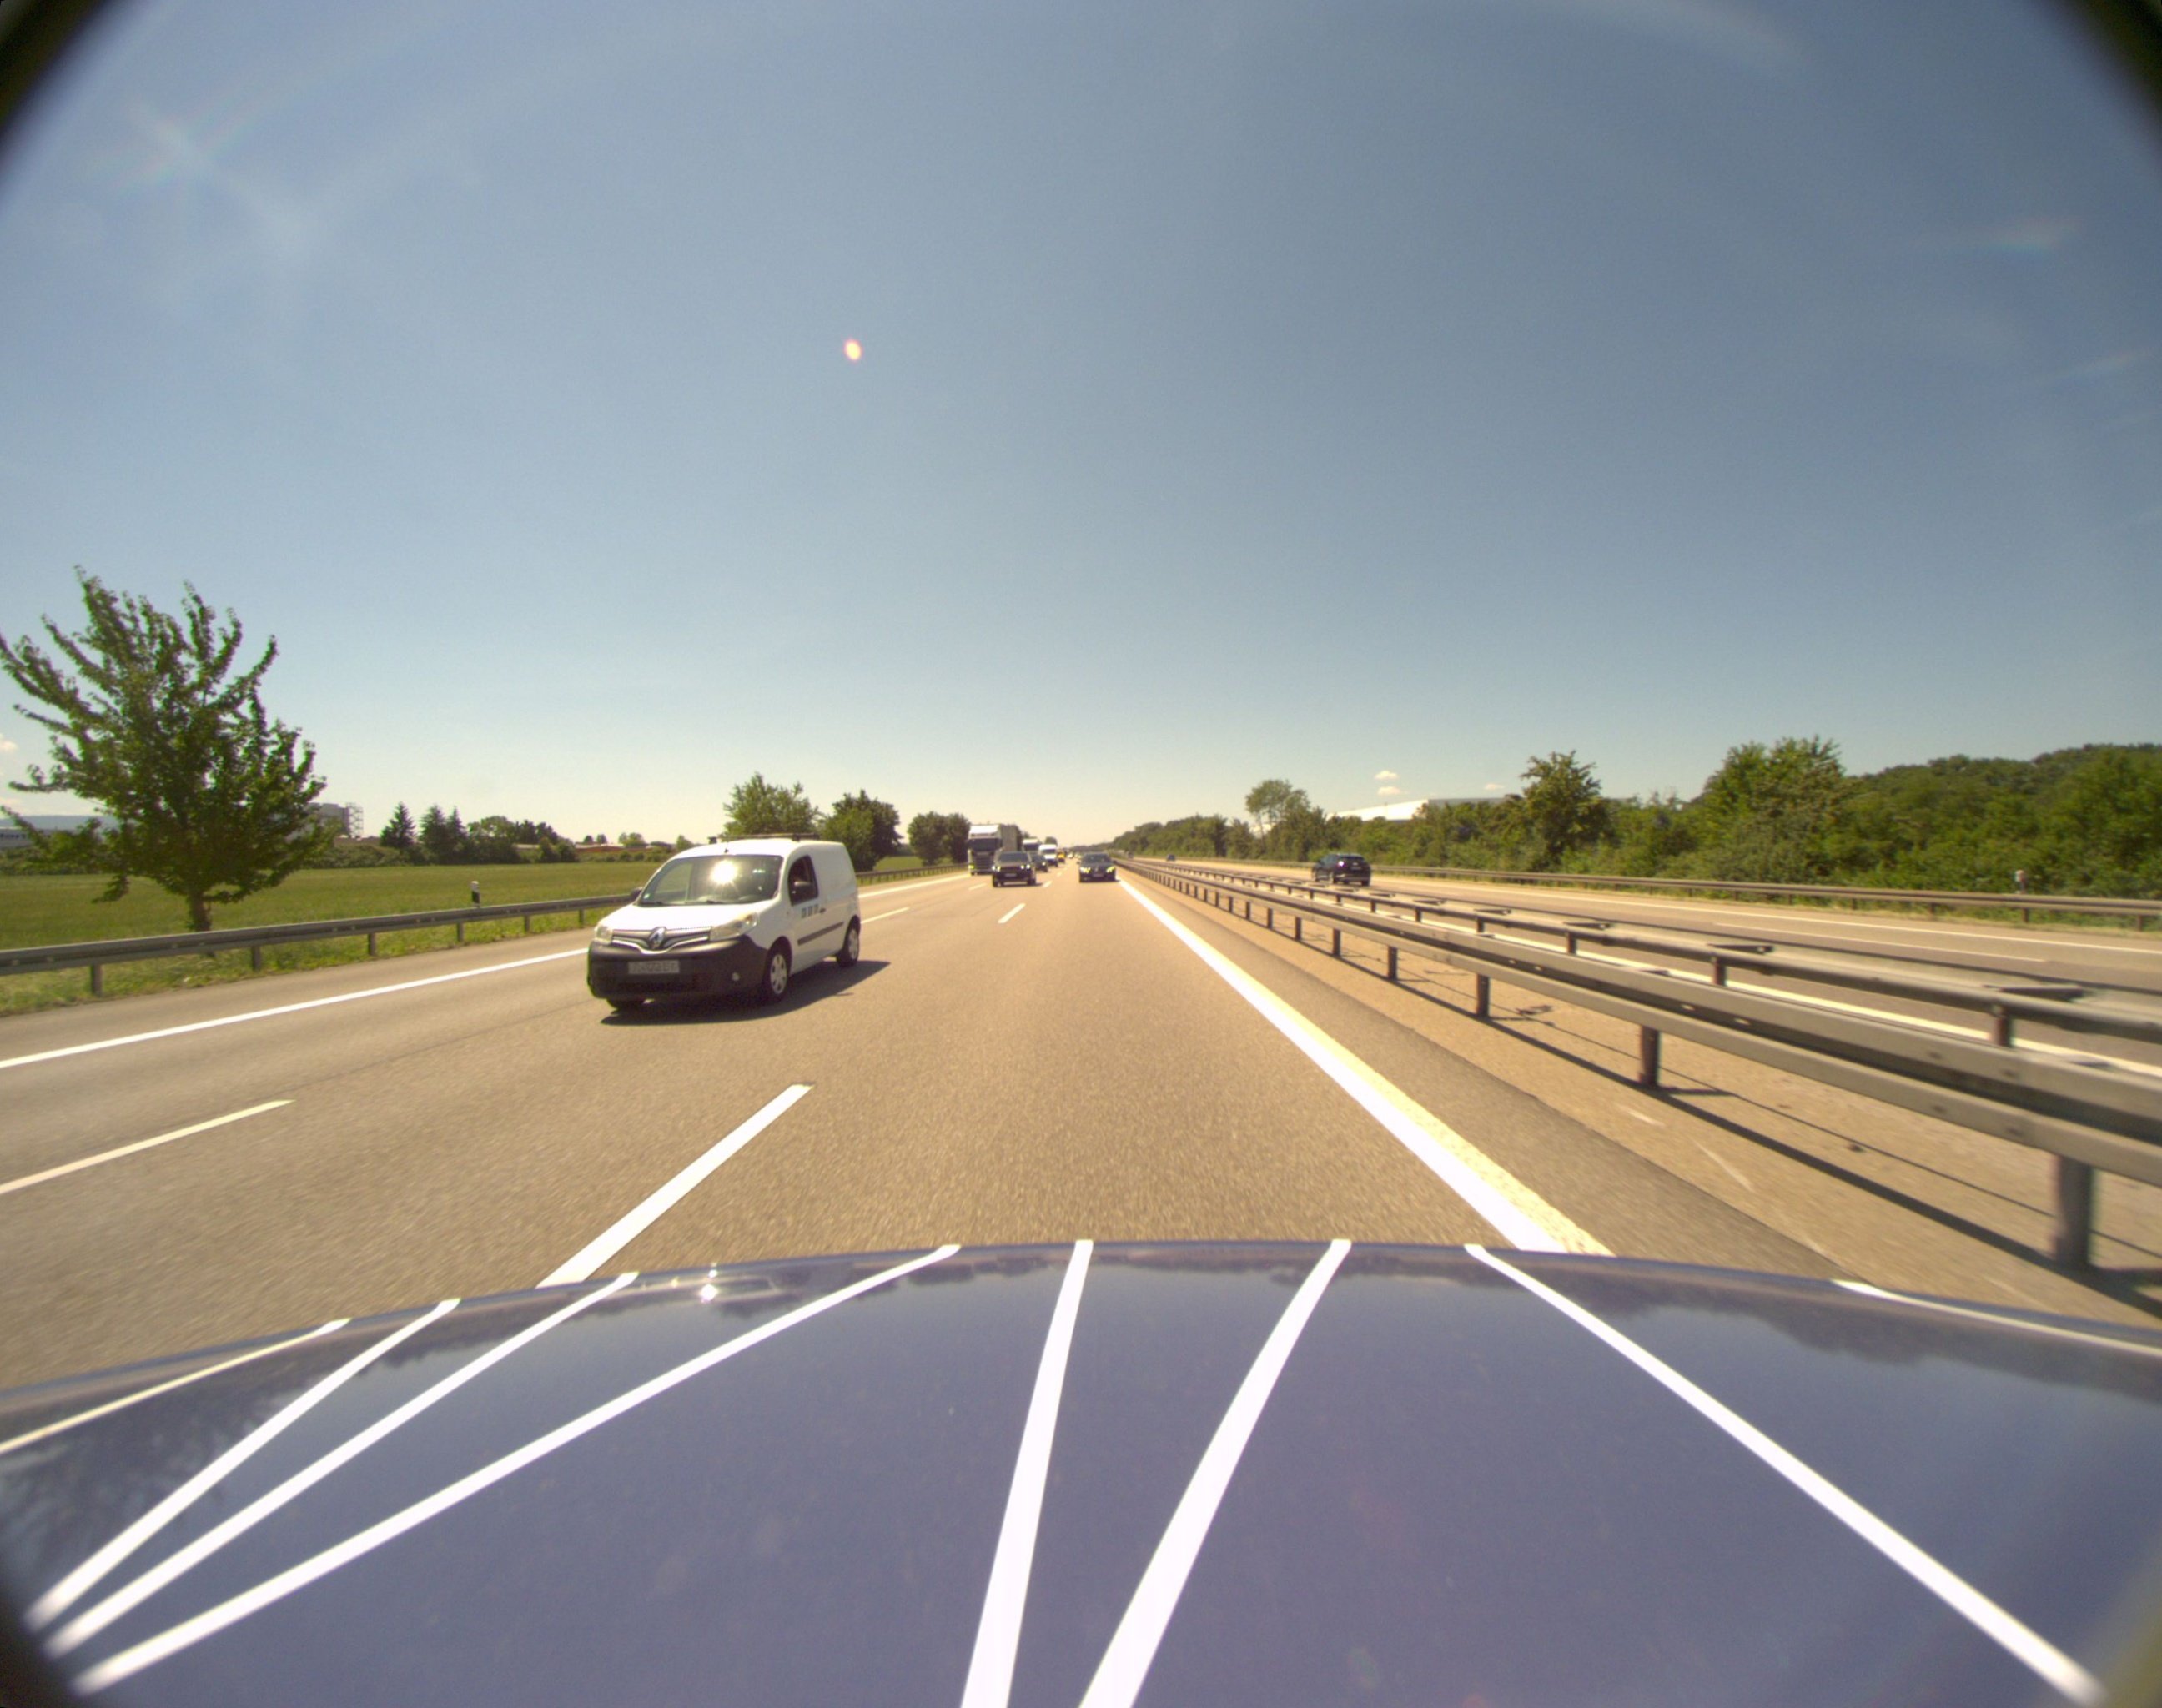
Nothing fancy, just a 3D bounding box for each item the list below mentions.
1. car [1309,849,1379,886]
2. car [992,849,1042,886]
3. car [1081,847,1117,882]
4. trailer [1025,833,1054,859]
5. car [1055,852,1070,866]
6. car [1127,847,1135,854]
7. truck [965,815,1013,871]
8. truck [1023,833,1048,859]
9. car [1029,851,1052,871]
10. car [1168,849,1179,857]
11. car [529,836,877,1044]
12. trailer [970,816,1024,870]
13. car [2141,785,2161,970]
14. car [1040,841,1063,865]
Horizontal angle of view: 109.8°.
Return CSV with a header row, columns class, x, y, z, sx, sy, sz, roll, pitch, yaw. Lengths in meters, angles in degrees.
class,x,y,z,sx,sy,sz,roll,pitch,yaw
car,13.067,0.618,38.007,1.873,1.680,4.626,1,1,0
car,-3.079,0.605,37.604,1.871,1.665,4.746,-2,0,2
car,0.916,0.511,38.959,1.690,1.646,3.462,-2,0,1
trailer,-6.769,-1.309,127.134,2.699,3.943,13.965,-2,0,5
car,-2.631,0.689,109.950,1.958,1.939,3.999,-2,0,0
car,14.147,-1.056,214.620,2.046,1.913,5.226,1,0,0
truck,-7.482,-0.870,62.727,2.817,4.279,7.193,-2,1,1
truck,-7.268,-1.281,121.560,2.699,3.943,7.706,-2,0,5
car,-3.266,0.560,61.962,1.692,1.465,3.432,-2,0,-1
car,17.886,-0.176,147.567,1.568,1.416,3.470,1,1,-2
car,-4.110,0.780,9.361,1.858,1.852,4.701,-2,0,0
trailer,-7.359,-0.914,68.972,2.817,4.279,14.254,-2,0,1
car,17.222,0.389,8.633,2.171,2.763,5.799,1,1,0
car,-3.166,-0.131,82.621,2.159,2.494,5.945,-2,0,0
